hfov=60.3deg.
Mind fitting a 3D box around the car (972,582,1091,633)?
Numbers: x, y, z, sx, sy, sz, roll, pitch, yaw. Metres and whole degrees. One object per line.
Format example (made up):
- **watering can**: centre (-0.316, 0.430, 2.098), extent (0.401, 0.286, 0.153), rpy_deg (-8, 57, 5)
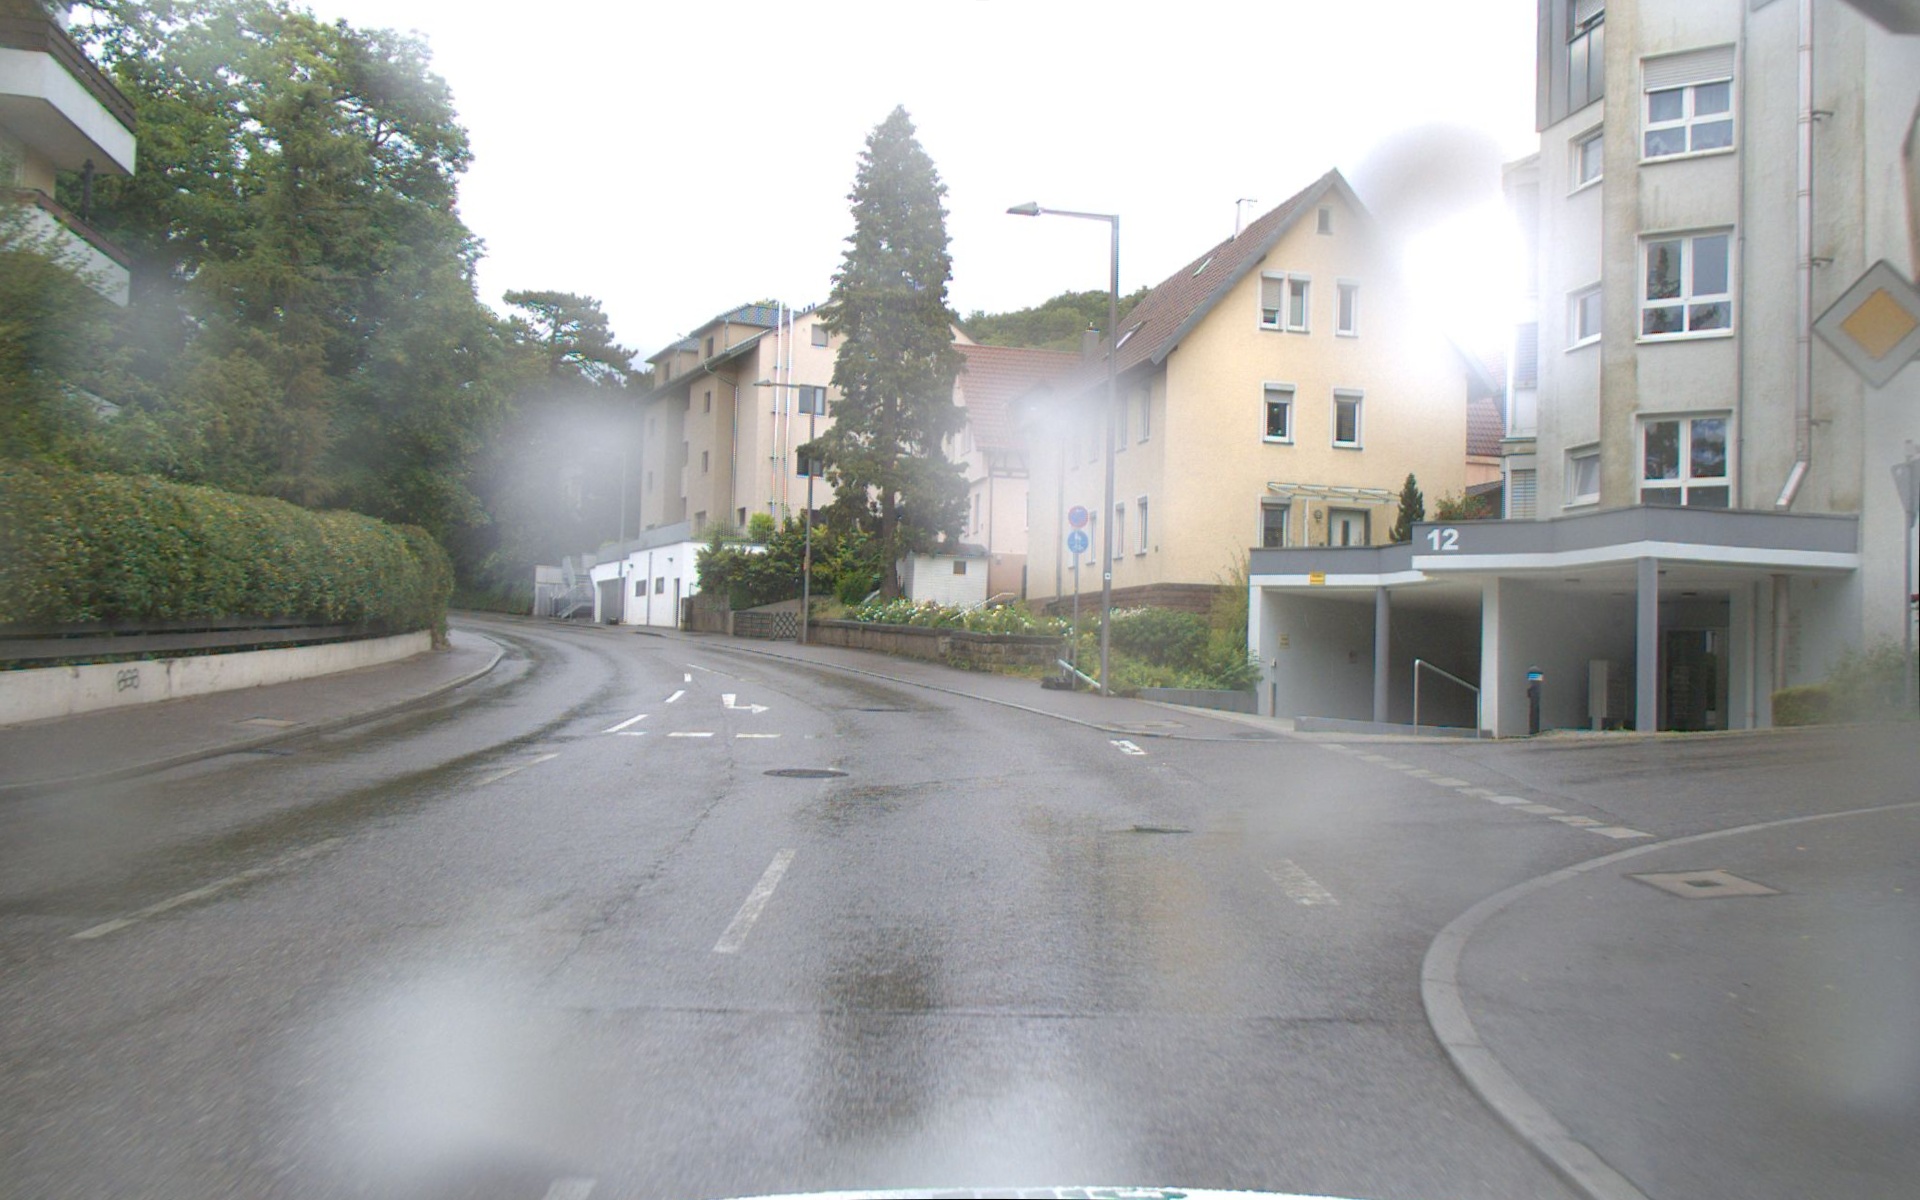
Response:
- **car**: centre (2.526, 0.257, 58.480), extent (3.789, 1.682, 1.955), rpy_deg (-1, 0, -15)
